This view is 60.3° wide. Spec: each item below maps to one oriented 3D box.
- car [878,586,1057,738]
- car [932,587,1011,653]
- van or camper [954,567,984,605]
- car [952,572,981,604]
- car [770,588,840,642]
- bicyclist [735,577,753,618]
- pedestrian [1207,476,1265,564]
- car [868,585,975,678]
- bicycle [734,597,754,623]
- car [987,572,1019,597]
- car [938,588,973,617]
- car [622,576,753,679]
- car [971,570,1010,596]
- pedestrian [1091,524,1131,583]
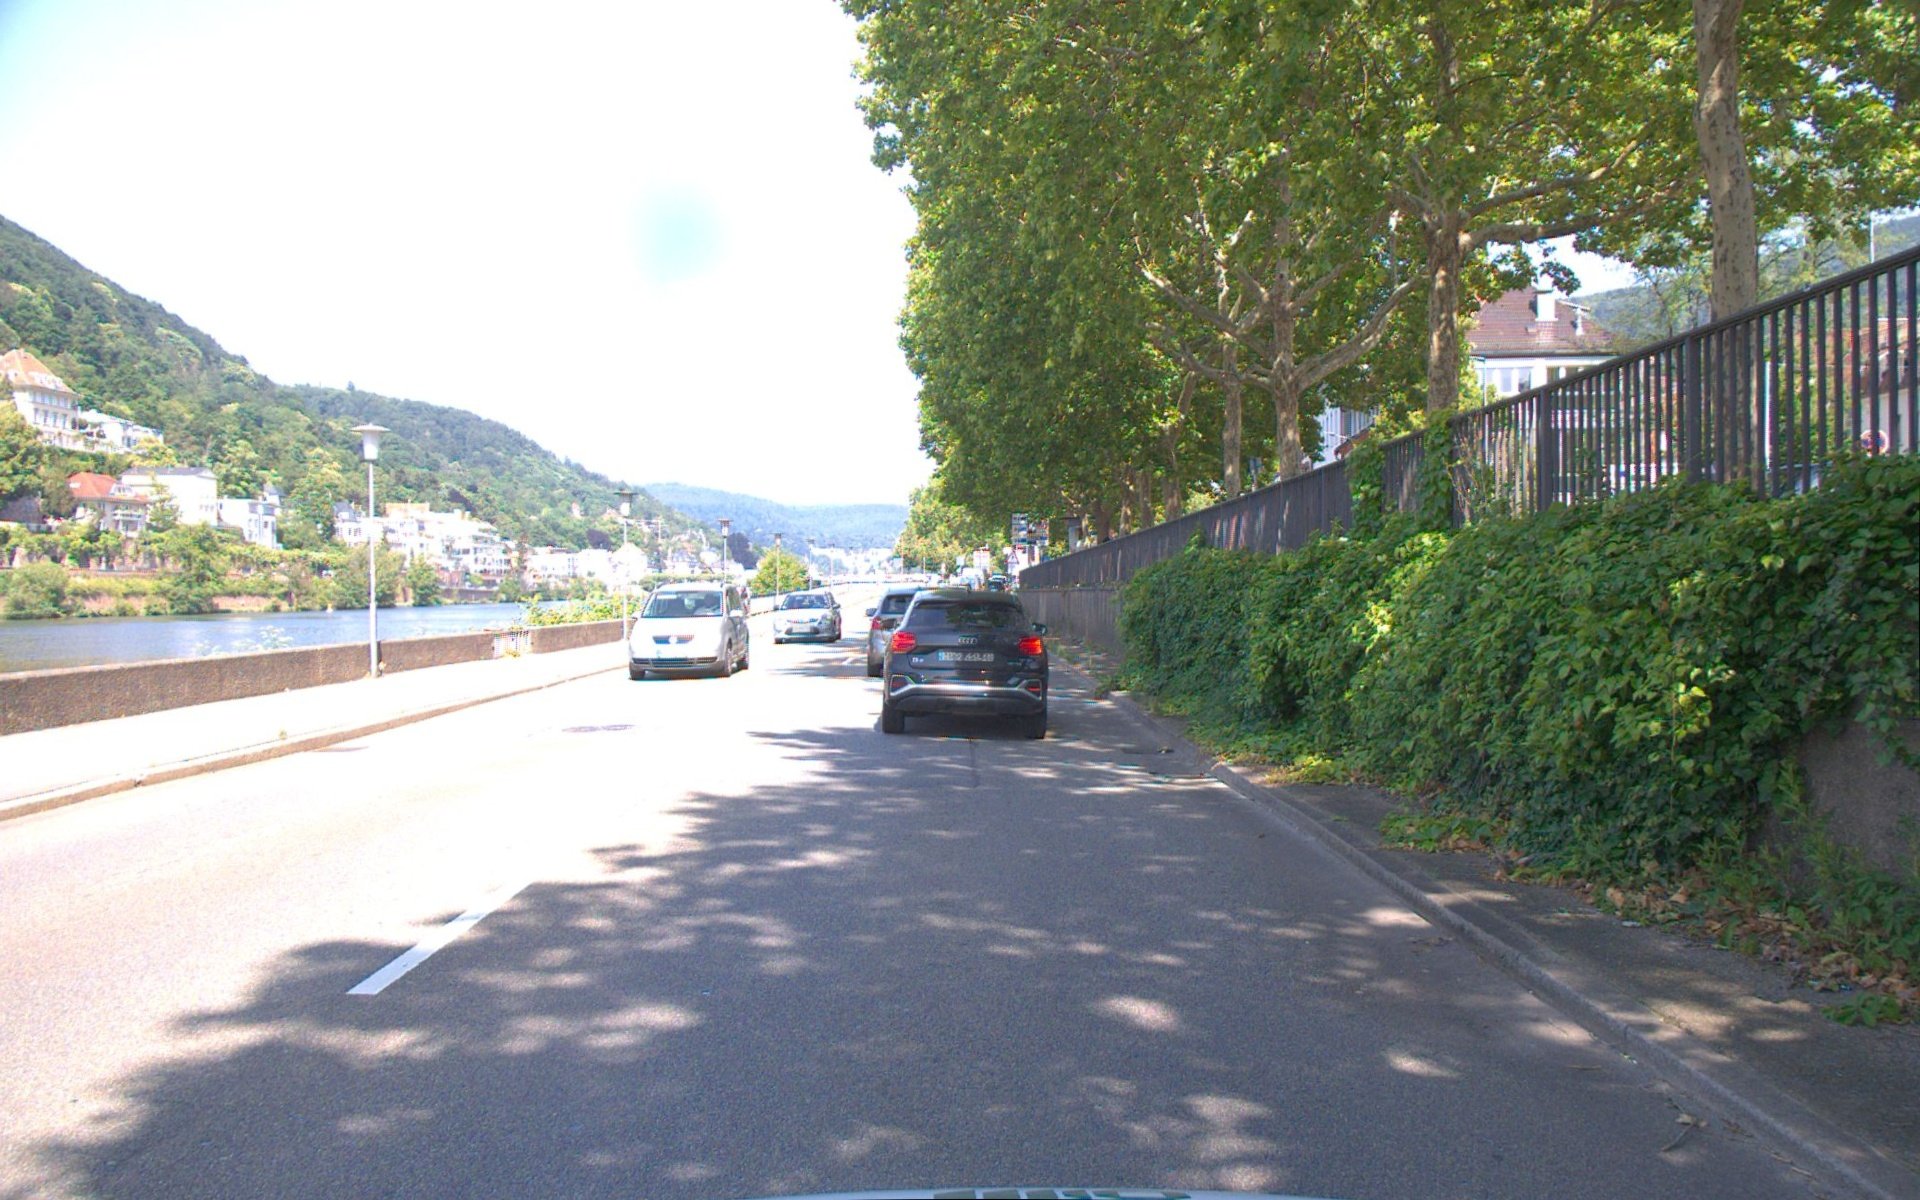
[{"bbox_3d":[0.034,0.611,18.703,1.791,1.512,3.999,1,1,-1],"label":"car"},{"bbox_3d":[0.240,0.451,40.226,1.791,1.512,3.999,1,1,-1],"label":"car"},{"bbox_3d":[0.735,-1.074,128.733,2.262,2.897,4.246,-1,0,1],"label":"van or camper"},{"bbox_3d":[0.434,-0.866,119.020,1.953,2.207,3.999,0,1,-1],"label":"car"},{"bbox_3d":[-4.491,0.402,48.369,1.696,1.467,4.044,-2,0,-1],"label":"car"},{"bbox_3d":[-9.031,-0.123,69.122,0.624,1.703,0.871,-1,0,-1],"label":"bicyclist"},{"bbox_3d":[4.566,-1.320,27.380,0.738,1.389,0.814,-3,0,-3],"label":"pedestrian"},{"bbox_3d":[-0.685,0.512,29.734,1.791,1.537,3.999,1,1,-1],"label":"car"},{"bbox_3d":[-9.037,0.408,69.208,0.619,1.029,1.985,-1,0,-1],"label":"bicycle"},{"bbox_3d":[3.920,-1.430,151.137,2.608,2.048,5.823,-3,1,-1],"label":"car"},{"bbox_3d":[-0.249,0.136,87.289,1.791,1.469,3.999,1,1,-1],"label":"car"},{"bbox_3d":[-4.847,0.450,29.946,1.696,1.679,4.176,-2,0,-1],"label":"car"},{"bbox_3d":[2.557,-1.437,140.250,3.036,2.048,5.823,-3,1,-1],"label":"car"},{"bbox_3d":[4.249,-1.312,46.713,0.918,1.607,1.027,-3,0,-3],"label":"pedestrian"}]
